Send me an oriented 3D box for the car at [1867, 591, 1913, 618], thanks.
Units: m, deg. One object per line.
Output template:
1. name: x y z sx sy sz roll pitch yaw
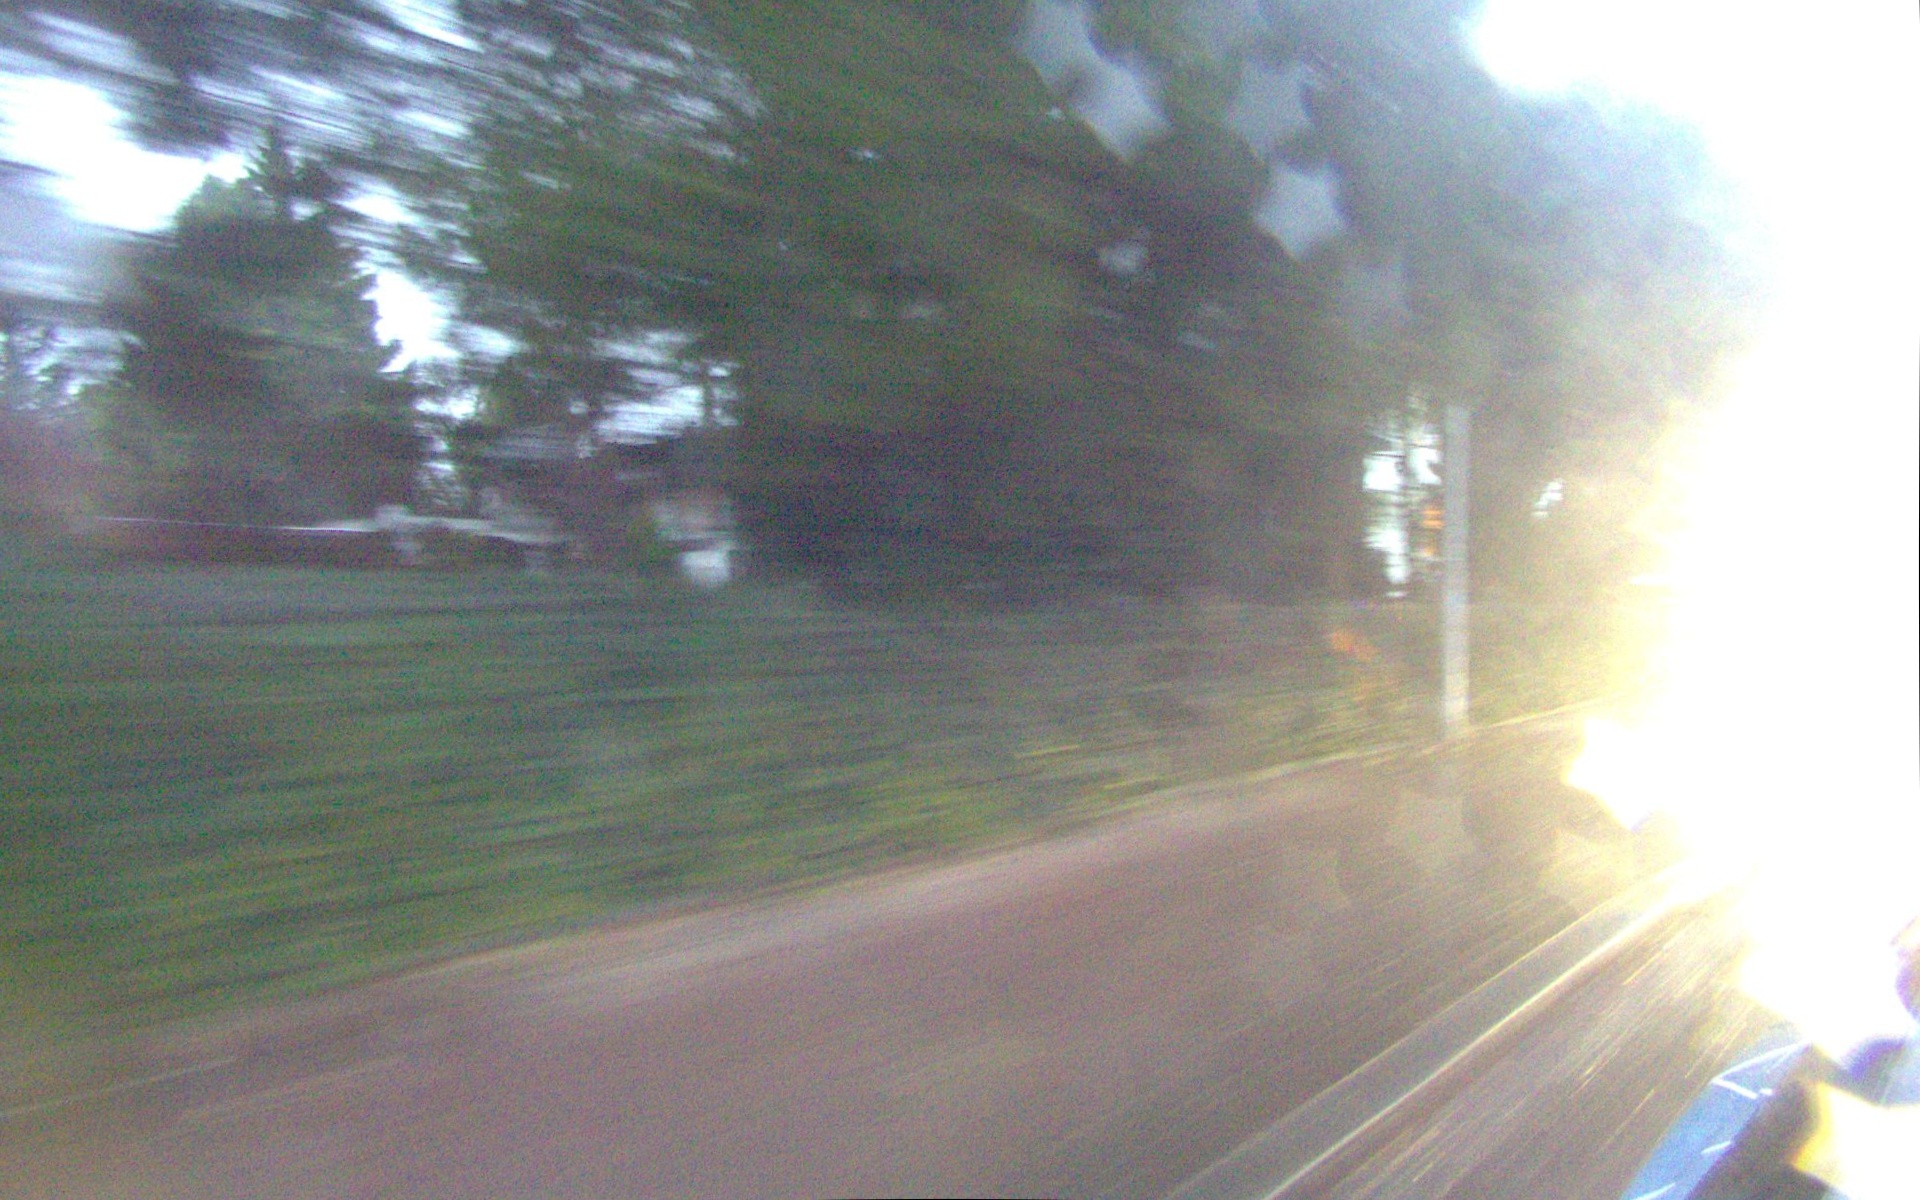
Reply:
1. car: 59.690 0.280 65.016 1.766 1.638 3.822 0 1 36

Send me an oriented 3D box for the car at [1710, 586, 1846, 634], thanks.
1. car: 32.164 0.347 39.870 4.098 1.727 1.971 1 2 41

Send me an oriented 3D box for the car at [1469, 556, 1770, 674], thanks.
1. car: 12.017 0.180 18.598 4.322 1.753 1.970 5 3 42

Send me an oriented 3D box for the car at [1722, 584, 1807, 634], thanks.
1. car: 27.330 0.265 34.319 1.893 1.574 4.681 1 1 43

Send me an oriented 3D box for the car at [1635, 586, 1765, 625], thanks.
1. car: 34.809 0.223 47.704 4.735 1.650 1.877 2 2 44
